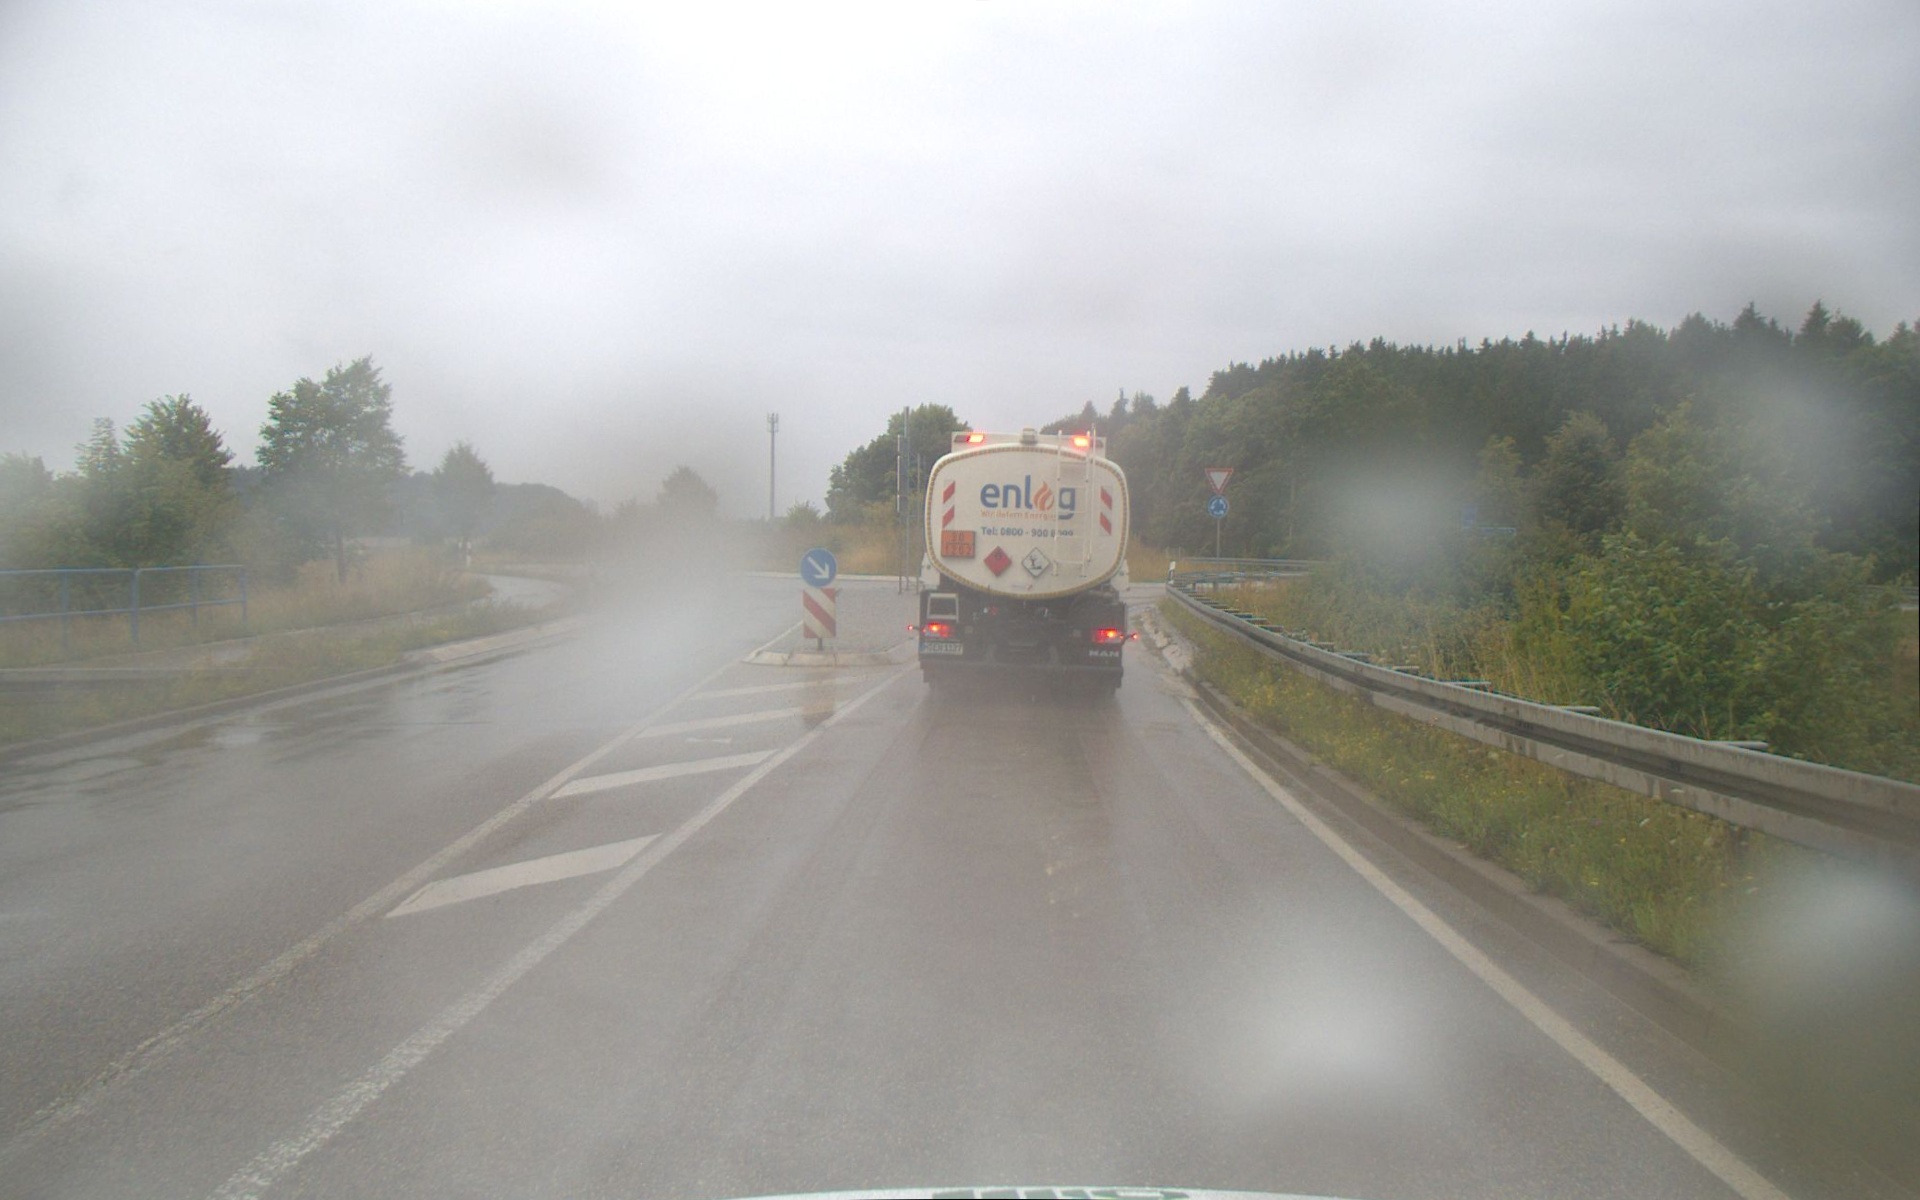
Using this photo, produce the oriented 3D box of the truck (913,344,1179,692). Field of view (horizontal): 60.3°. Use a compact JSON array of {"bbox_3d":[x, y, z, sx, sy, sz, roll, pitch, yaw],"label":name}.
[{"bbox_3d":[1.146,-1.074,23.122,2.976,3.918,8.827,0,2,2],"label":"truck"}]
